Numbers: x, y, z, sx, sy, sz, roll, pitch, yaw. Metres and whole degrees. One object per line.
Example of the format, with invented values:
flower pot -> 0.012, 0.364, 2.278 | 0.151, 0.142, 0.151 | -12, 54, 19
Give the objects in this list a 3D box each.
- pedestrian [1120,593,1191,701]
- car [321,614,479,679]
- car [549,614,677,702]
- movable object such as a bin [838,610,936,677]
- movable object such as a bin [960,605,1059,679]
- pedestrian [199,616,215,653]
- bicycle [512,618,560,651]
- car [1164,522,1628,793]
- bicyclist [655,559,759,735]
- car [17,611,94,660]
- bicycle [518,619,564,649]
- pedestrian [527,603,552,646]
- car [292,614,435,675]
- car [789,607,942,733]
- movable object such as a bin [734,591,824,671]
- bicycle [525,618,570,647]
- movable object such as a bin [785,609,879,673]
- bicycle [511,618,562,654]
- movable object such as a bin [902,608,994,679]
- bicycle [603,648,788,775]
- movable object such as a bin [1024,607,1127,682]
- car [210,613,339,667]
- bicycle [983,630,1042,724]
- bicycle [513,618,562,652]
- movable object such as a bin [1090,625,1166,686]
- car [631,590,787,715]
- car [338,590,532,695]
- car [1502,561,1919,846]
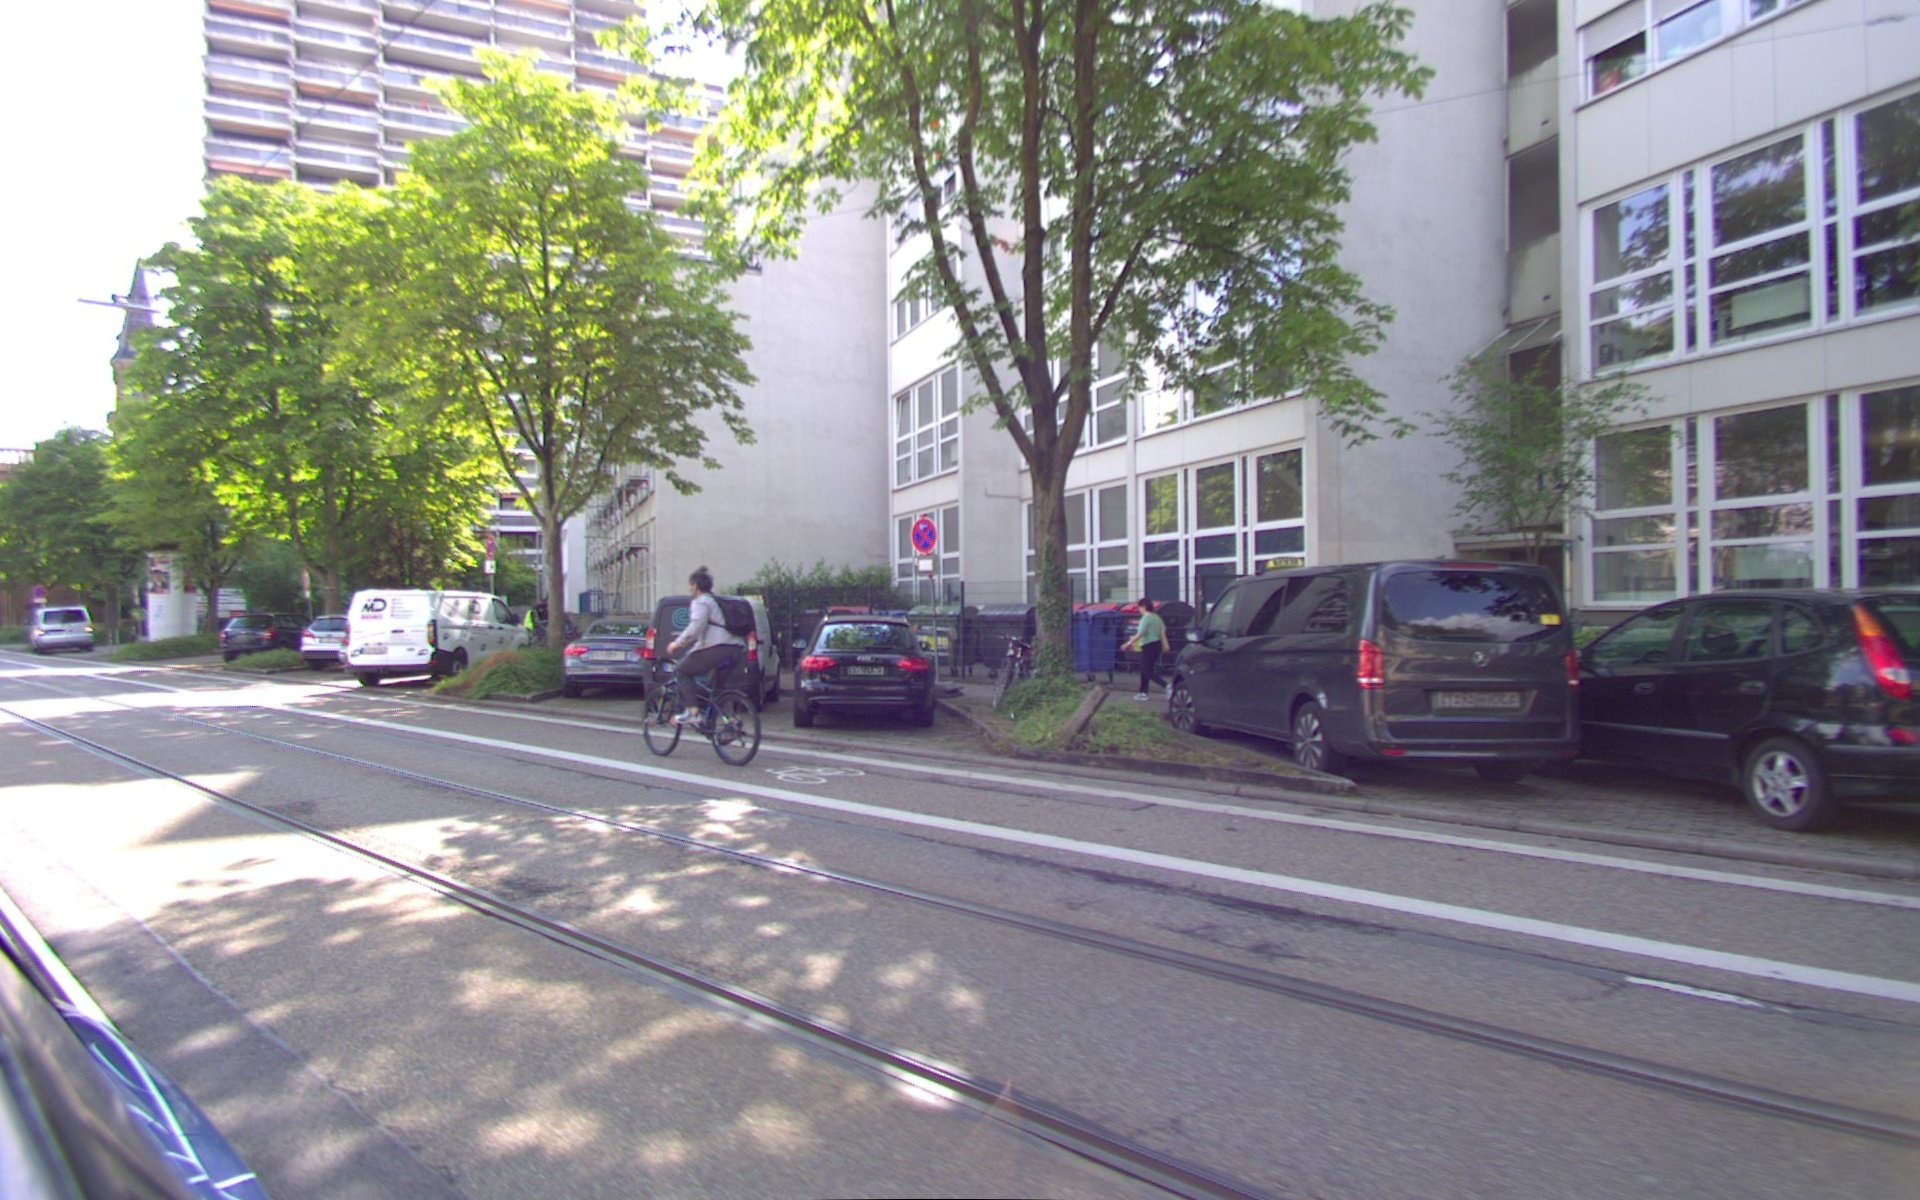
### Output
pedestrian -> 2.979, 0.703, 15.431 | 0.880, 1.588, 0.637 | -1, -1, 37
car -> -13.839, 1.103, 25.306 | 1.795, 1.461, 4.173 | -1, -1, -3
car -> -6.213, 1.028, 18.527 | 1.694, 1.428, 4.009 | 1, -2, -12
movable object such as a bin -> -1.546, 0.929, 21.604 | 1.536, 1.374, 1.374 | 0, -3, 36
movable object such as a bin -> 0.934, 0.795, 19.106 | 1.440, 1.337, 1.152 | -1, -3, 39
pedestrian -> -36.976, 1.680, 49.708 | 0.517, 1.767, 0.636 | -3, 3, -44
bicycle -> -15.315, 1.249, 36.545 | 1.553, 1.122, 0.544 | -1, -3, -26
car -> 3.756, 0.527, 10.043 | 1.887, 1.969, 5.175 | 1, -2, -6
bicyclist -> -2.410, 0.432, 9.641 | 0.741, 1.588, 0.635 | -1, -1, 37
car -> -39.015, 1.480, 43.613 | 4.234, 1.865, 1.868 | -1, 2, 41
bicycle -> -15.664, 1.267, 37.808 | 1.553, 1.101, 0.544 | -1, -3, -26
pedestrian -> -16.337, 0.945, 39.312 | 0.660, 1.636, 0.635 | 0, 1, 32
car -> -16.046, 1.145, 27.484 | 1.794, 1.512, 4.199 | -1, -1, -6
car -> -1.307, 0.889, 13.673 | 1.733, 1.428, 4.005 | 1, -2, -6
movable object such as a bin -> -4.231, 0.736, 23.699 | 1.536, 1.795, 1.374 | -1, -3, 36
bicycle -> -15.796, 1.240, 38.739 | 1.553, 1.089, 0.544 | -1, -3, -26
movable object such as a bin -> -2.861, 0.918, 22.608 | 1.536, 1.374, 1.374 | 0, -3, 36
bicycle -> -14.403, 1.214, 34.431 | 1.553, 1.171, 0.544 | -1, -3, -26
movable object such as a bin -> -0.236, 0.881, 20.548 | 1.439, 1.391, 1.181 | -1, -3, 37
bicycle -> -2.584, 1.017, 9.760 | 1.998, 1.048, 0.649 | -1, -1, 38
movable object such as a bin -> 2.070, 0.794, 18.173 | 1.440, 1.293, 1.156 | -1, -3, 39
car -> -21.230, 1.187, 31.541 | 1.715, 1.535, 3.891 | -1, 0, -7
bicycle -> 0.738, 0.982, 13.597 | 0.577, 1.127, 1.994 | 0, -1, 9
bicycle -> -14.955, 1.244, 35.838 | 1.553, 1.130, 0.544 | -1, -3, -26
movable object such as a bin -> 2.886, 0.951, 17.357 | 0.934, 0.994, 0.954 | -1, -3, 39
car -> -3.785, 0.803, 15.873 | 1.734, 1.706, 3.718 | 1, -2, -4
car -> -11.192, 0.854, 22.016 | 1.940, 2.012, 4.688 | -1, -1, -2
car -> 6.129, 0.665, 7.591 | 1.714, 1.605, 4.004 | 1, -2, -5
